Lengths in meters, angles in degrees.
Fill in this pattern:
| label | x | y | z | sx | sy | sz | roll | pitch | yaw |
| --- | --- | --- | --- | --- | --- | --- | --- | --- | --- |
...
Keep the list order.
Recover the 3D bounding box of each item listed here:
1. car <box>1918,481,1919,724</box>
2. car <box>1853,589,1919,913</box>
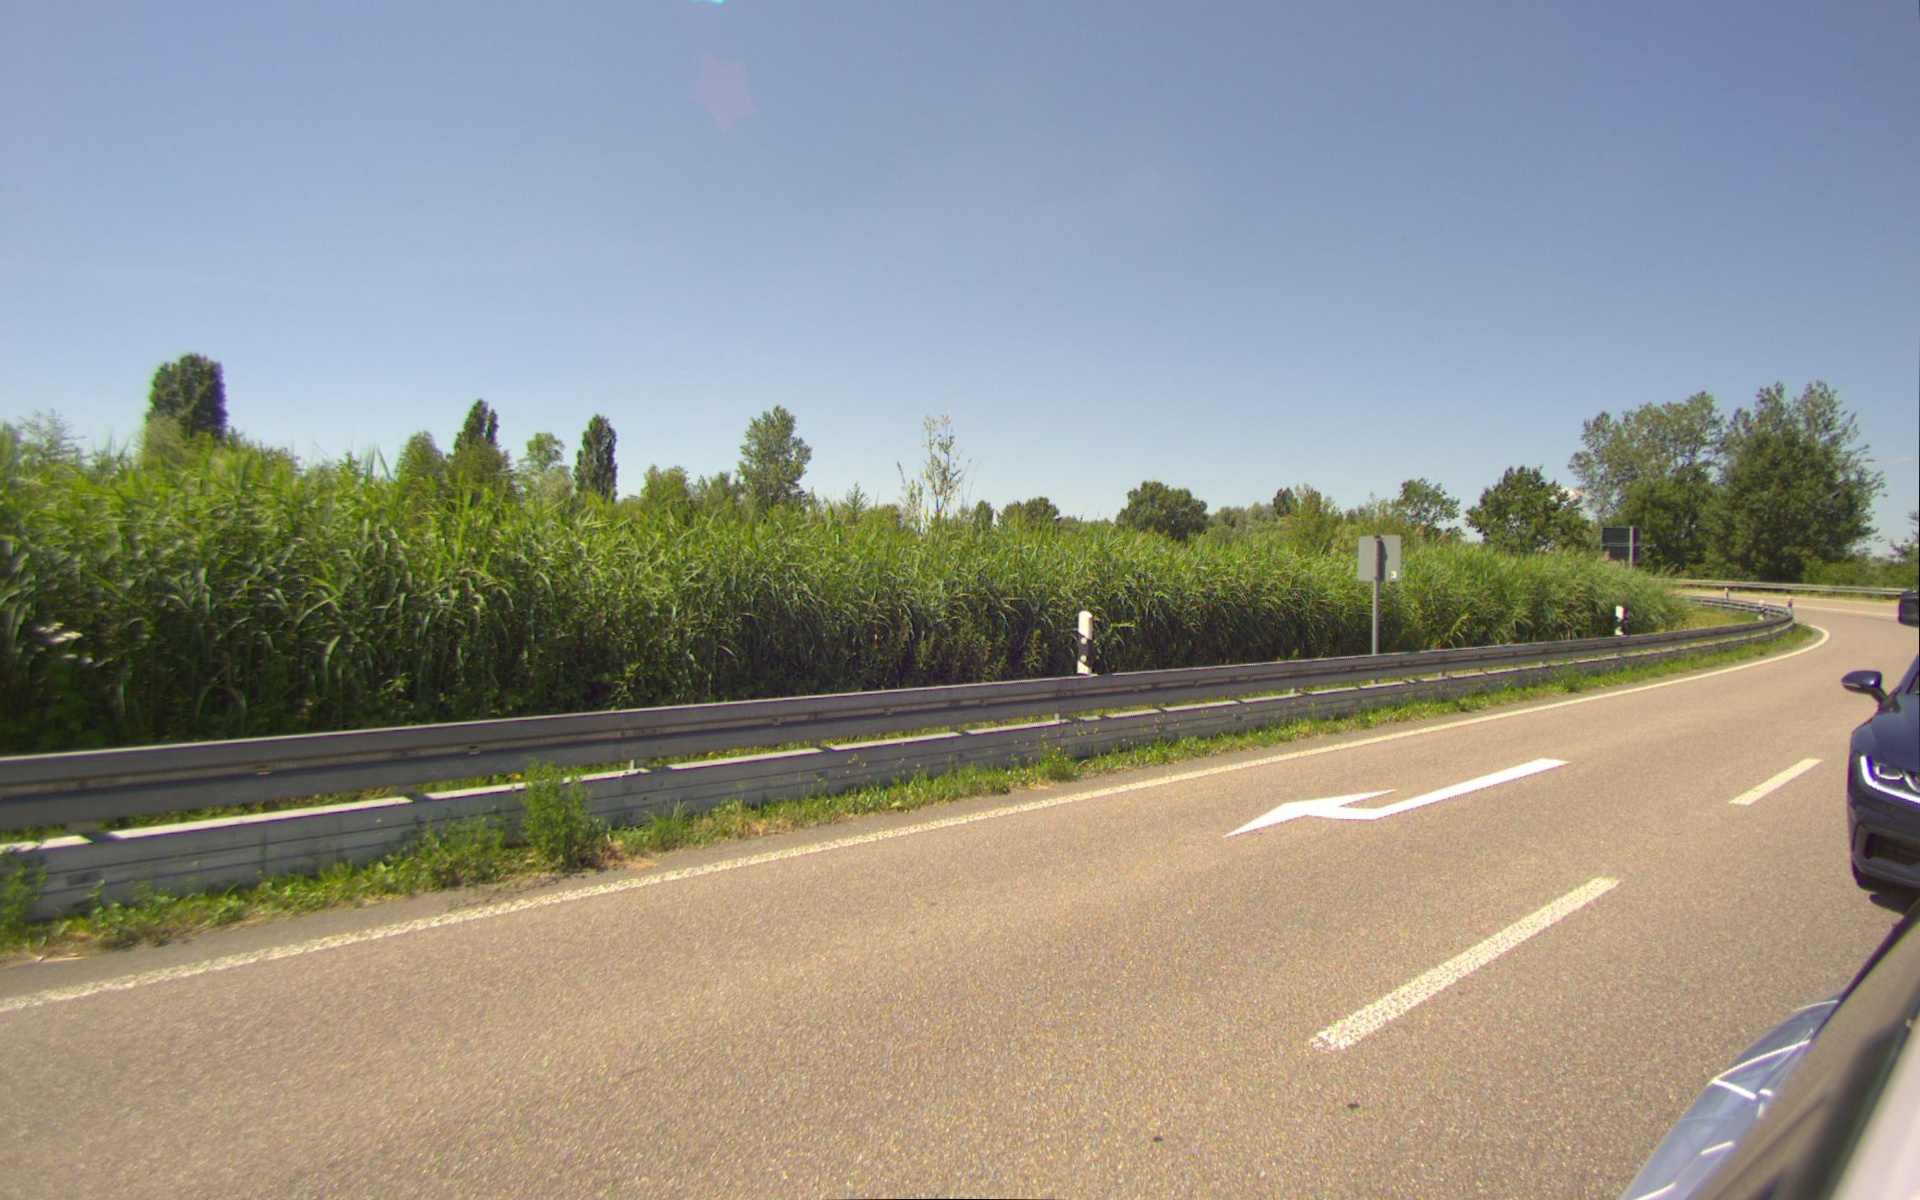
| label | x | y | z | sx | sy | sz | roll | pitch | yaw |
| --- | --- | --- | --- | --- | --- | --- | --- | --- | --- |
| car | 11.501 | 0.098 | 10.250 | 5.725 | 2.419 | 2.057 | -1 | 0 | -41 |
| car | 6.165 | 0.653 | 5.277 | 3.930 | 1.427 | 1.759 | -1 | 1 | -41 |
